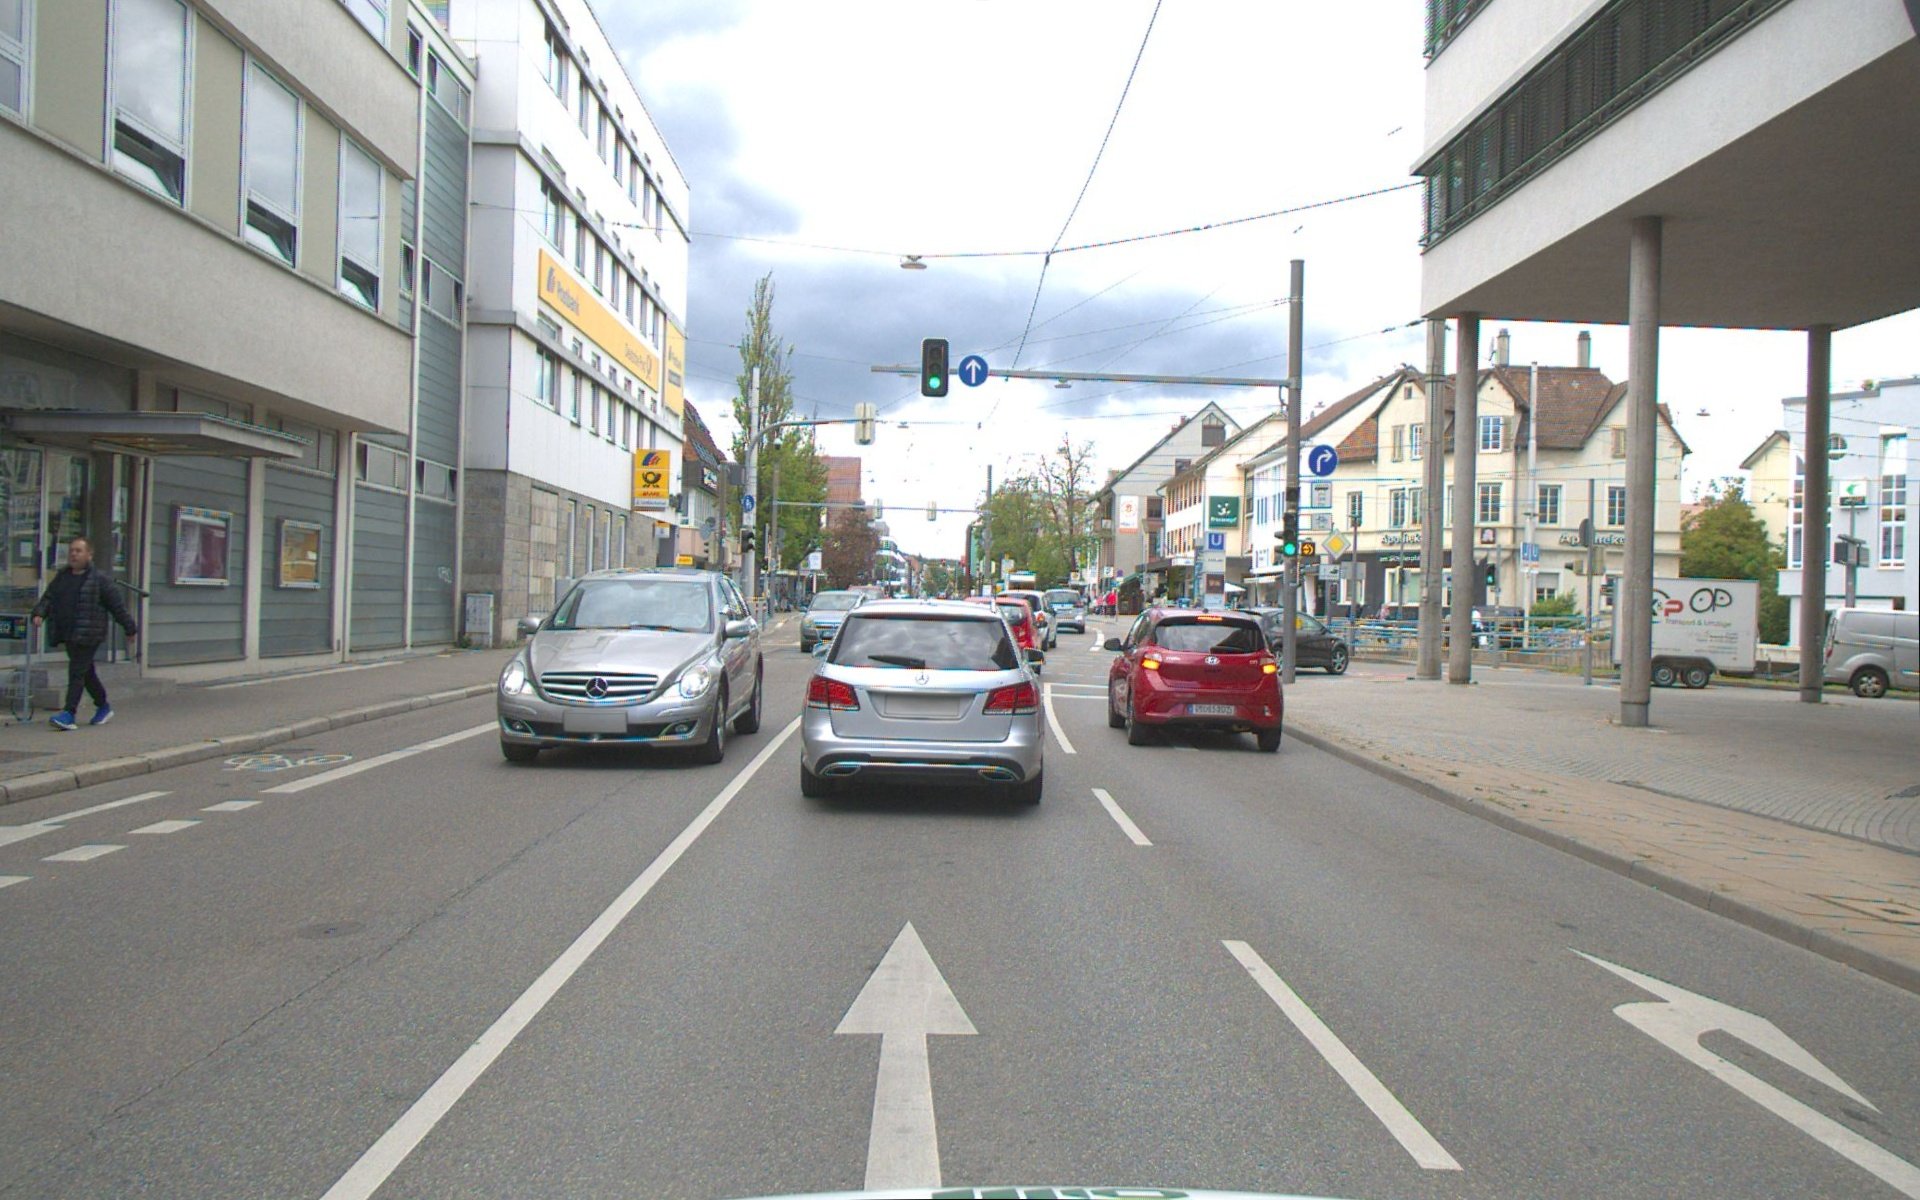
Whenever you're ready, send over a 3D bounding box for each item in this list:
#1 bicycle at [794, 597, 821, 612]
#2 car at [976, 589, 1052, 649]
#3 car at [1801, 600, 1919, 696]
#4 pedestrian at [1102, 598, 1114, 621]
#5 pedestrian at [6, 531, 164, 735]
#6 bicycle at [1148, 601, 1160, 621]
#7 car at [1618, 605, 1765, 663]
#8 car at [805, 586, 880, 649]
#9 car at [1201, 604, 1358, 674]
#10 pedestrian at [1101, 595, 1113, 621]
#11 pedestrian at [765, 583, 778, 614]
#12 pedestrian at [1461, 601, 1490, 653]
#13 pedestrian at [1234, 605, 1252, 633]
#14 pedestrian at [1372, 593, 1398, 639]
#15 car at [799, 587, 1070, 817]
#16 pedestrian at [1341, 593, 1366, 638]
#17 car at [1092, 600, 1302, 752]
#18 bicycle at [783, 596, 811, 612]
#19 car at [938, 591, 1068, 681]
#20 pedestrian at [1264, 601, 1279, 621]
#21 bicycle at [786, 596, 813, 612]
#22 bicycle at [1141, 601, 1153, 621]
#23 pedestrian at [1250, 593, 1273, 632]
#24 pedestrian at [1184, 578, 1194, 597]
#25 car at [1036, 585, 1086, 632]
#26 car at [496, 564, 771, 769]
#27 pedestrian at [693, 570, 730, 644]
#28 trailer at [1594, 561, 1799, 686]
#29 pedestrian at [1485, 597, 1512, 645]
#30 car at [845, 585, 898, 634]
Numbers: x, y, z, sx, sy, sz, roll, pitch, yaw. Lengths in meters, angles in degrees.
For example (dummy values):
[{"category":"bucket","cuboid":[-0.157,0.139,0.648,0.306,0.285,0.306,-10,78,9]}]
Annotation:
[{"category":"bicycle","cuboid":[-11.306,0.306,122.677,1.903,1.047,0.529,2,0,-11]},{"category":"car","cuboid":[1.437,0.488,45.267,1.700,1.534,3.997,1,0,-3]},{"category":"car","cuboid":[21.329,1.126,36.535,4.799,1.979,1.880,3,0,29]},{"category":"pedestrian","cuboid":[9.572,0.606,106.707,0.567,1.495,0.650,2,0,-9]},{"category":"pedestrian","cuboid":[-7.910,0.285,15.002,0.844,1.748,1.031,3,0,-3]},{"category":"bicycle","cuboid":[11.497,0.647,97.858,0.439,1.127,2.149,1,0,0]},{"category":"car","cuboid":[27.719,1.268,62.768,1.971,1.952,4.714,3,-1,-40]},{"category":"car","cuboid":[-2.882,0.407,41.135,1.623,1.492,3.920,1,0,-1]},{"category":"car","cuboid":[7.216,0.826,37.099,1.708,1.435,3.978,1,1,41]},{"category":"pedestrian","cuboid":[9.762,0.542,109.951,0.568,1.695,0.649,2,0,-12]},{"category":"pedestrian","cuboid":[-10.016,-0.094,87.872,0.623,1.634,0.702,1,0,-14]},{"category":"pedestrian","cuboid":[17.722,0.926,56.874,0.697,1.748,0.641,1,0,-39]},{"category":"pedestrian","cuboid":[16.721,1.140,97.824,0.631,1.619,0.892,2,0,-21]},{"category":"pedestrian","cuboid":[16.615,0.636,64.715,0.636,1.748,0.787,3,1,-10]},{"category":"car","cuboid":[-0.285,0.681,13.267,1.809,1.534,4.168,1,0,-3]},{"category":"pedestrian","cuboid":[15.519,0.601,65.207,0.696,1.748,0.642,1,0,-34]},{"category":"car","cuboid":[2.658,0.798,19.392,1.664,1.477,3.998,4,0,-2]},{"category":"bicycle","cuboid":[-11.807,0.285,119.933,1.903,1.047,0.529,2,0,-11]},{"category":"car","cuboid":[0.886,0.631,31.164,1.697,1.534,4.003,2,0,12]},{"category":"pedestrian","cuboid":[18.586,0.641,98.759,0.722,1.184,0.642,2,0,-4]},{"category":"bicycle","cuboid":[-11.521,0.298,118.687,1.903,1.047,0.529,2,0,-11]},{"category":"bicycle","cuboid":[11.056,0.646,97.848,0.439,1.110,2.149,1,0,0]},{"category":"pedestrian","cuboid":[13.717,0.580,75.203,0.824,1.748,0.726,1,0,-5]},{"category":"pedestrian","cuboid":[15.745,-0.862,113.580,0.522,1.240,0.579,2,0,-4]},{"category":"car","cuboid":[3.946,0.314,65.074,1.699,1.790,4.000,1,0,0]},{"category":"car","cuboid":[-2.937,0.530,15.905,1.740,1.660,4.767,1,0,-1]},{"category":"pedestrian","cuboid":[-5.968,0.168,39.732,0.634,1.748,0.783,3,0,6]},{"category":"trailer","cuboid":[17.162,0.530,38.766,4.221,2.659,1.884,2,0,22]},{"category":"pedestrian","cuboid":[20.430,0.800,62.756,0.772,1.748,0.648,3,1,30]},{"category":"car","cuboid":[-3.219,0.333,60.501,1.763,1.724,3.897,1,0,-1]}]
